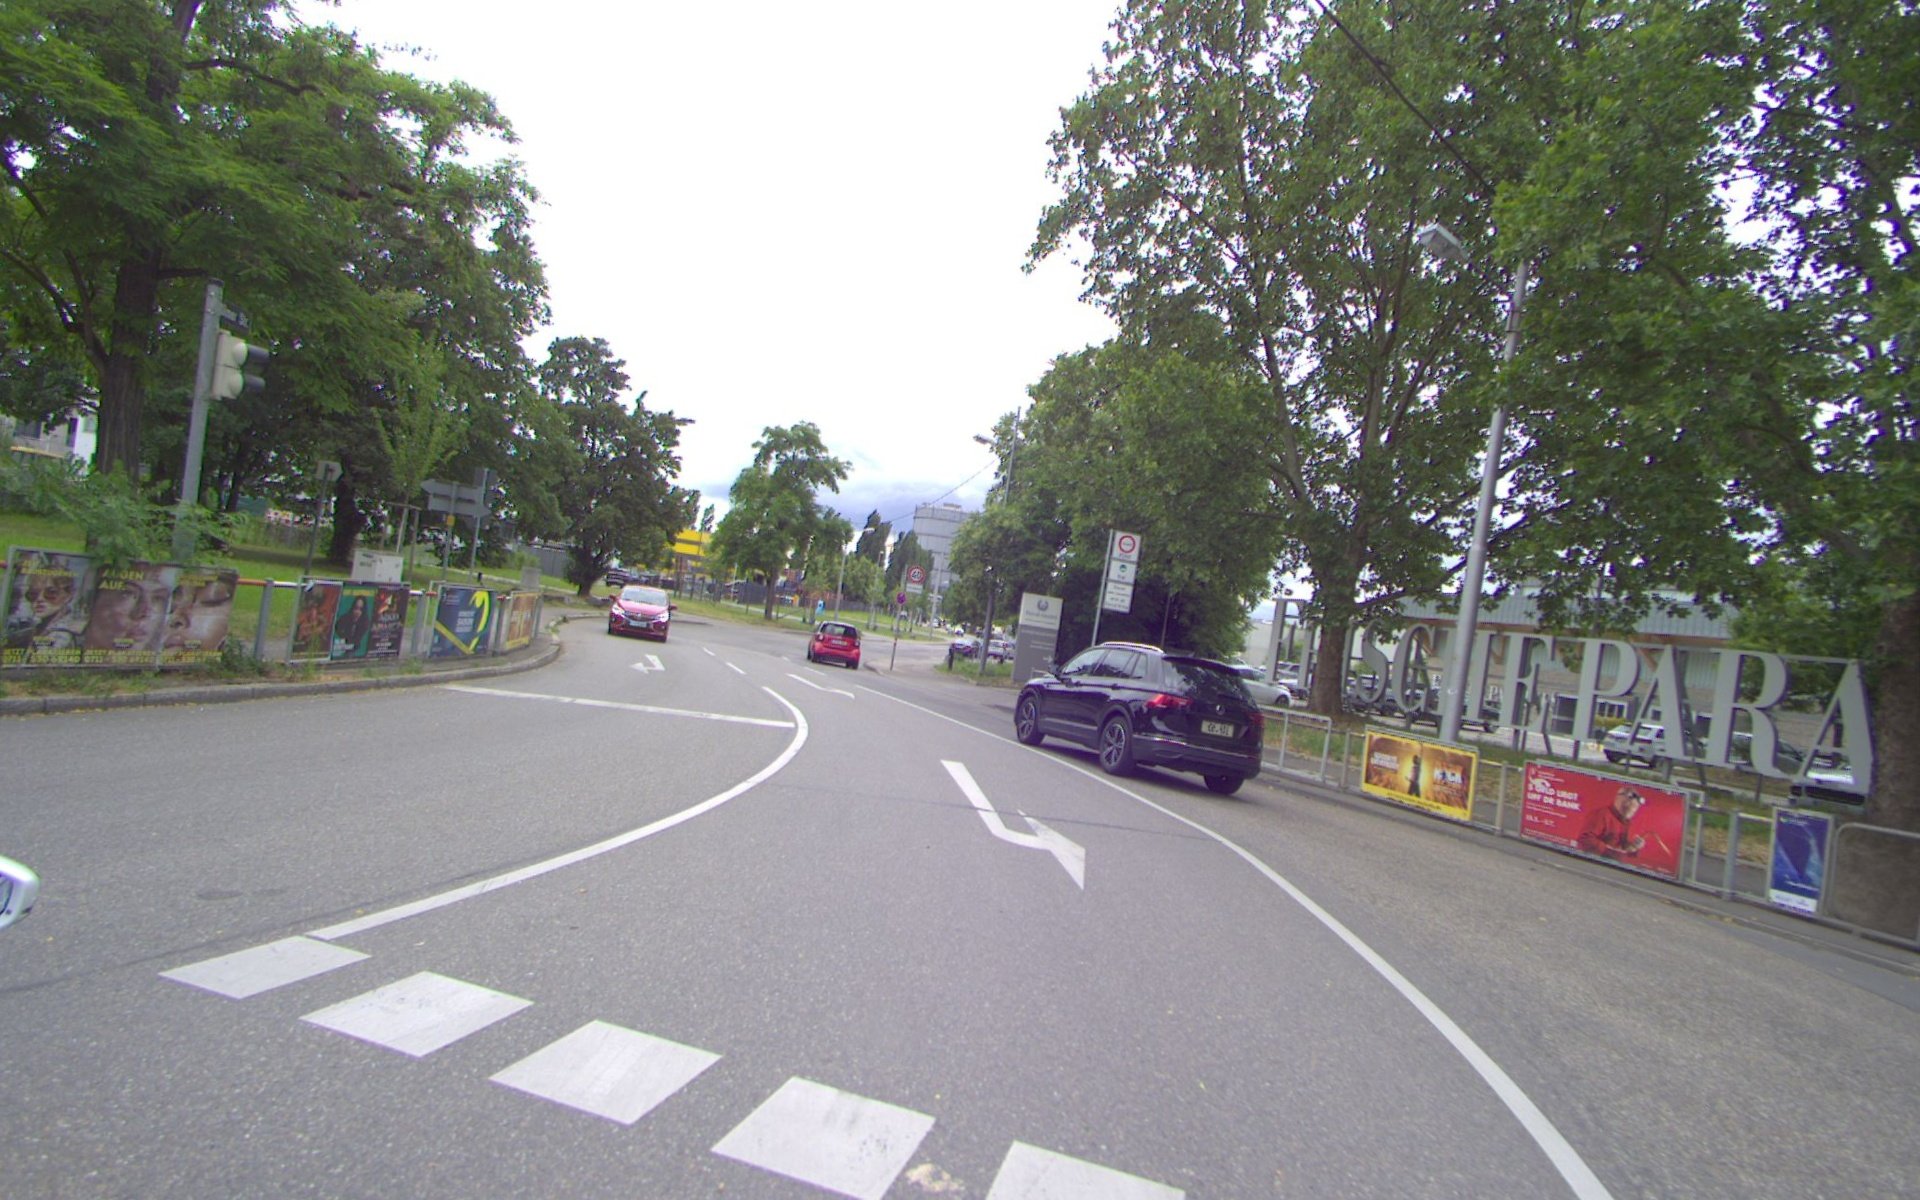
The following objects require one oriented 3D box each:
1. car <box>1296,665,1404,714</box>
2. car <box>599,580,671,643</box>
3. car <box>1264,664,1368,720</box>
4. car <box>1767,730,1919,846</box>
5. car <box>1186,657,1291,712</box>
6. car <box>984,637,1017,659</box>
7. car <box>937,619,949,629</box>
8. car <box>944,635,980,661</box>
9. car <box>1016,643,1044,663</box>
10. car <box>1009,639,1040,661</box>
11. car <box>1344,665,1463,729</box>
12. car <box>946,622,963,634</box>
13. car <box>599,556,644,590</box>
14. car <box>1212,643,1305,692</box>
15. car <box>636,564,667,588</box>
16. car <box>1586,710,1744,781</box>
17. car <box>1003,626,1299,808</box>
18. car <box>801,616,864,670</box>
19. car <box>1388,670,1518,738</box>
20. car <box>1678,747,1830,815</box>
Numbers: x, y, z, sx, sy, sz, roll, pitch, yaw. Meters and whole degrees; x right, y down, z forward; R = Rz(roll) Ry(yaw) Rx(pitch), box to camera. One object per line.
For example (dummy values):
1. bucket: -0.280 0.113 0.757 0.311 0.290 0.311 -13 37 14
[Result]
1. car: 18.964 4.325 48.890 4.578 1.577 1.991 10 -1 -20
2. car: -9.391 0.293 29.232 1.708 1.483 3.821 8 -1 -17
3. car: 18.106 4.675 51.182 4.578 2.037 1.991 10 -1 -20
4. car: 17.714 3.663 18.787 4.464 1.631 1.877 10 -1 -18
5. car: 10.865 3.282 39.170 3.684 1.522 1.473 10 -1 -23
6. car: 3.203 3.792 79.315 1.685 1.422 3.376 9 -2 16
7. car: -3.539 4.952 206.572 2.013 1.553 3.941 10 -2 -4
8. car: 0.148 3.355 70.120 1.685 1.506 3.376 9 -2 12
9. car: 6.264 4.760 89.782 1.685 1.422 3.376 9 -2 16
10. car: 5.396 4.169 83.873 1.685 1.422 3.376 9 -2 16
11. car: 19.830 4.335 44.983 4.578 2.037 1.991 10 -1 -20
12. car: -0.895 4.299 153.654 2.012 1.555 3.938 6 -1 -6
13. car: -25.257 -1.980 75.216 1.936 2.036 4.217 10 -1 -4
14. car: 17.380 3.925 58.542 4.759 2.037 1.991 10 -1 -20
15. car: -32.348 -2.513 105.481 1.936 2.036 4.217 10 -1 -4
16. car: 23.724 4.891 33.877 4.578 1.580 1.991 10 -1 -20
17. car: 2.323 1.419 13.489 1.826 1.653 4.168 11 -2 -20
18. car: -4.556 1.490 35.540 1.691 1.482 3.011 9 0 -14
19. car: 20.357 4.289 41.547 4.578 2.037 1.991 10 -1 -20
20. car: 28.178 6.417 35.715 4.578 1.580 1.991 10 -1 -20
